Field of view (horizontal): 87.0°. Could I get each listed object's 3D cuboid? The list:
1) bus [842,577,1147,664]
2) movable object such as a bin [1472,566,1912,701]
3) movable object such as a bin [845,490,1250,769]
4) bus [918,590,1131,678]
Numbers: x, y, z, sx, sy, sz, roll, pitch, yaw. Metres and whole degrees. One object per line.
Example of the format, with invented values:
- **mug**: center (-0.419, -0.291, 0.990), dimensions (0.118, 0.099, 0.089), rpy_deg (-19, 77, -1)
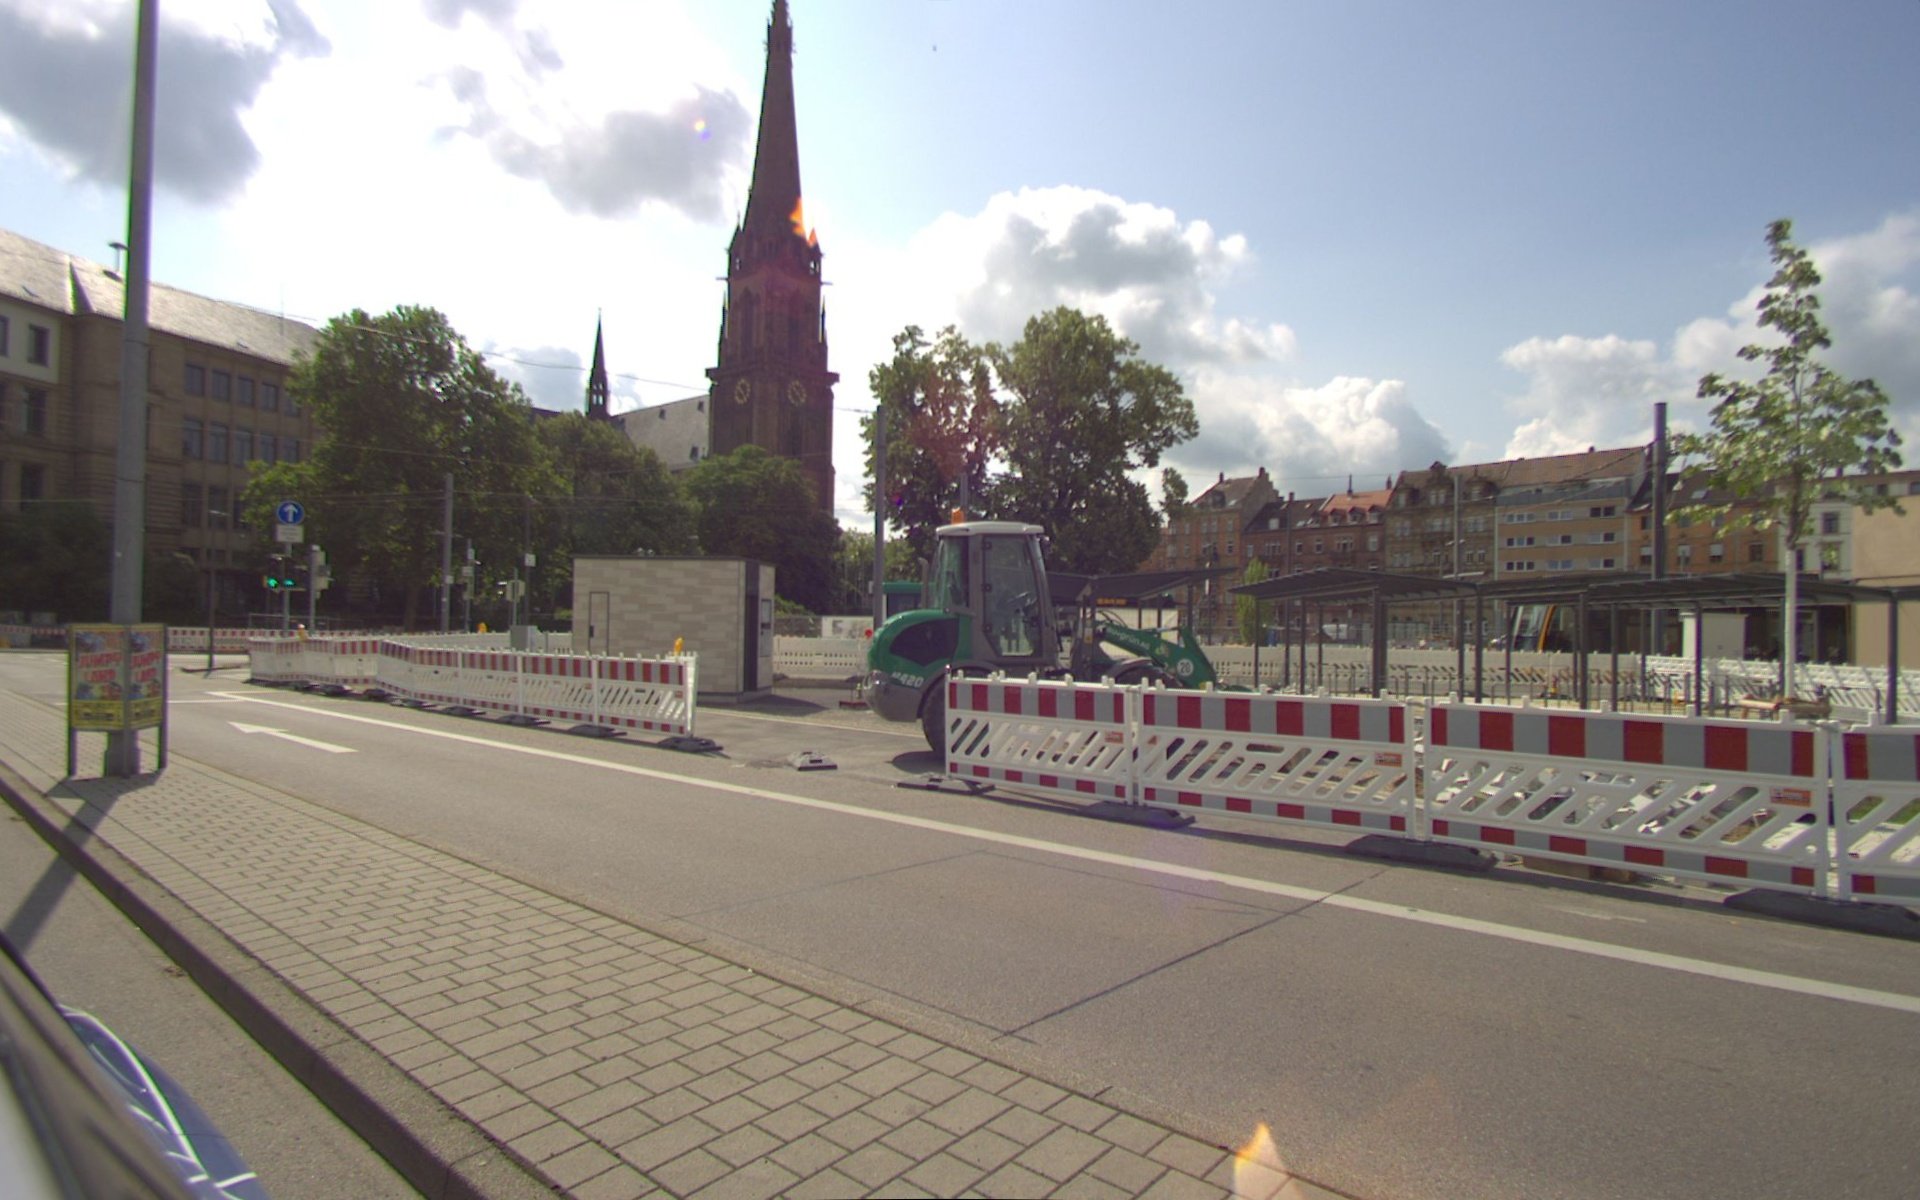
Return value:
- **bus**: center (1.405, 0.829, 41.138), dimensions (11.927, 3.287, 2.988), rpy_deg (1, -2, 6)
- **movable object such as a bin**: center (19.974, 0.890, 28.267), dimensions (9.573, 3.450, 3.014), rpy_deg (1, -2, 8)
- **movable object such as a bin**: center (0.932, 0.357, 11.999), dimensions (4.386, 2.972, 2.001), rpy_deg (1, -2, -2)
- **bus**: center (2.403, 1.256, 37.779), dimensions (7.668, 3.081, 2.369), rpy_deg (1, -2, 6)
